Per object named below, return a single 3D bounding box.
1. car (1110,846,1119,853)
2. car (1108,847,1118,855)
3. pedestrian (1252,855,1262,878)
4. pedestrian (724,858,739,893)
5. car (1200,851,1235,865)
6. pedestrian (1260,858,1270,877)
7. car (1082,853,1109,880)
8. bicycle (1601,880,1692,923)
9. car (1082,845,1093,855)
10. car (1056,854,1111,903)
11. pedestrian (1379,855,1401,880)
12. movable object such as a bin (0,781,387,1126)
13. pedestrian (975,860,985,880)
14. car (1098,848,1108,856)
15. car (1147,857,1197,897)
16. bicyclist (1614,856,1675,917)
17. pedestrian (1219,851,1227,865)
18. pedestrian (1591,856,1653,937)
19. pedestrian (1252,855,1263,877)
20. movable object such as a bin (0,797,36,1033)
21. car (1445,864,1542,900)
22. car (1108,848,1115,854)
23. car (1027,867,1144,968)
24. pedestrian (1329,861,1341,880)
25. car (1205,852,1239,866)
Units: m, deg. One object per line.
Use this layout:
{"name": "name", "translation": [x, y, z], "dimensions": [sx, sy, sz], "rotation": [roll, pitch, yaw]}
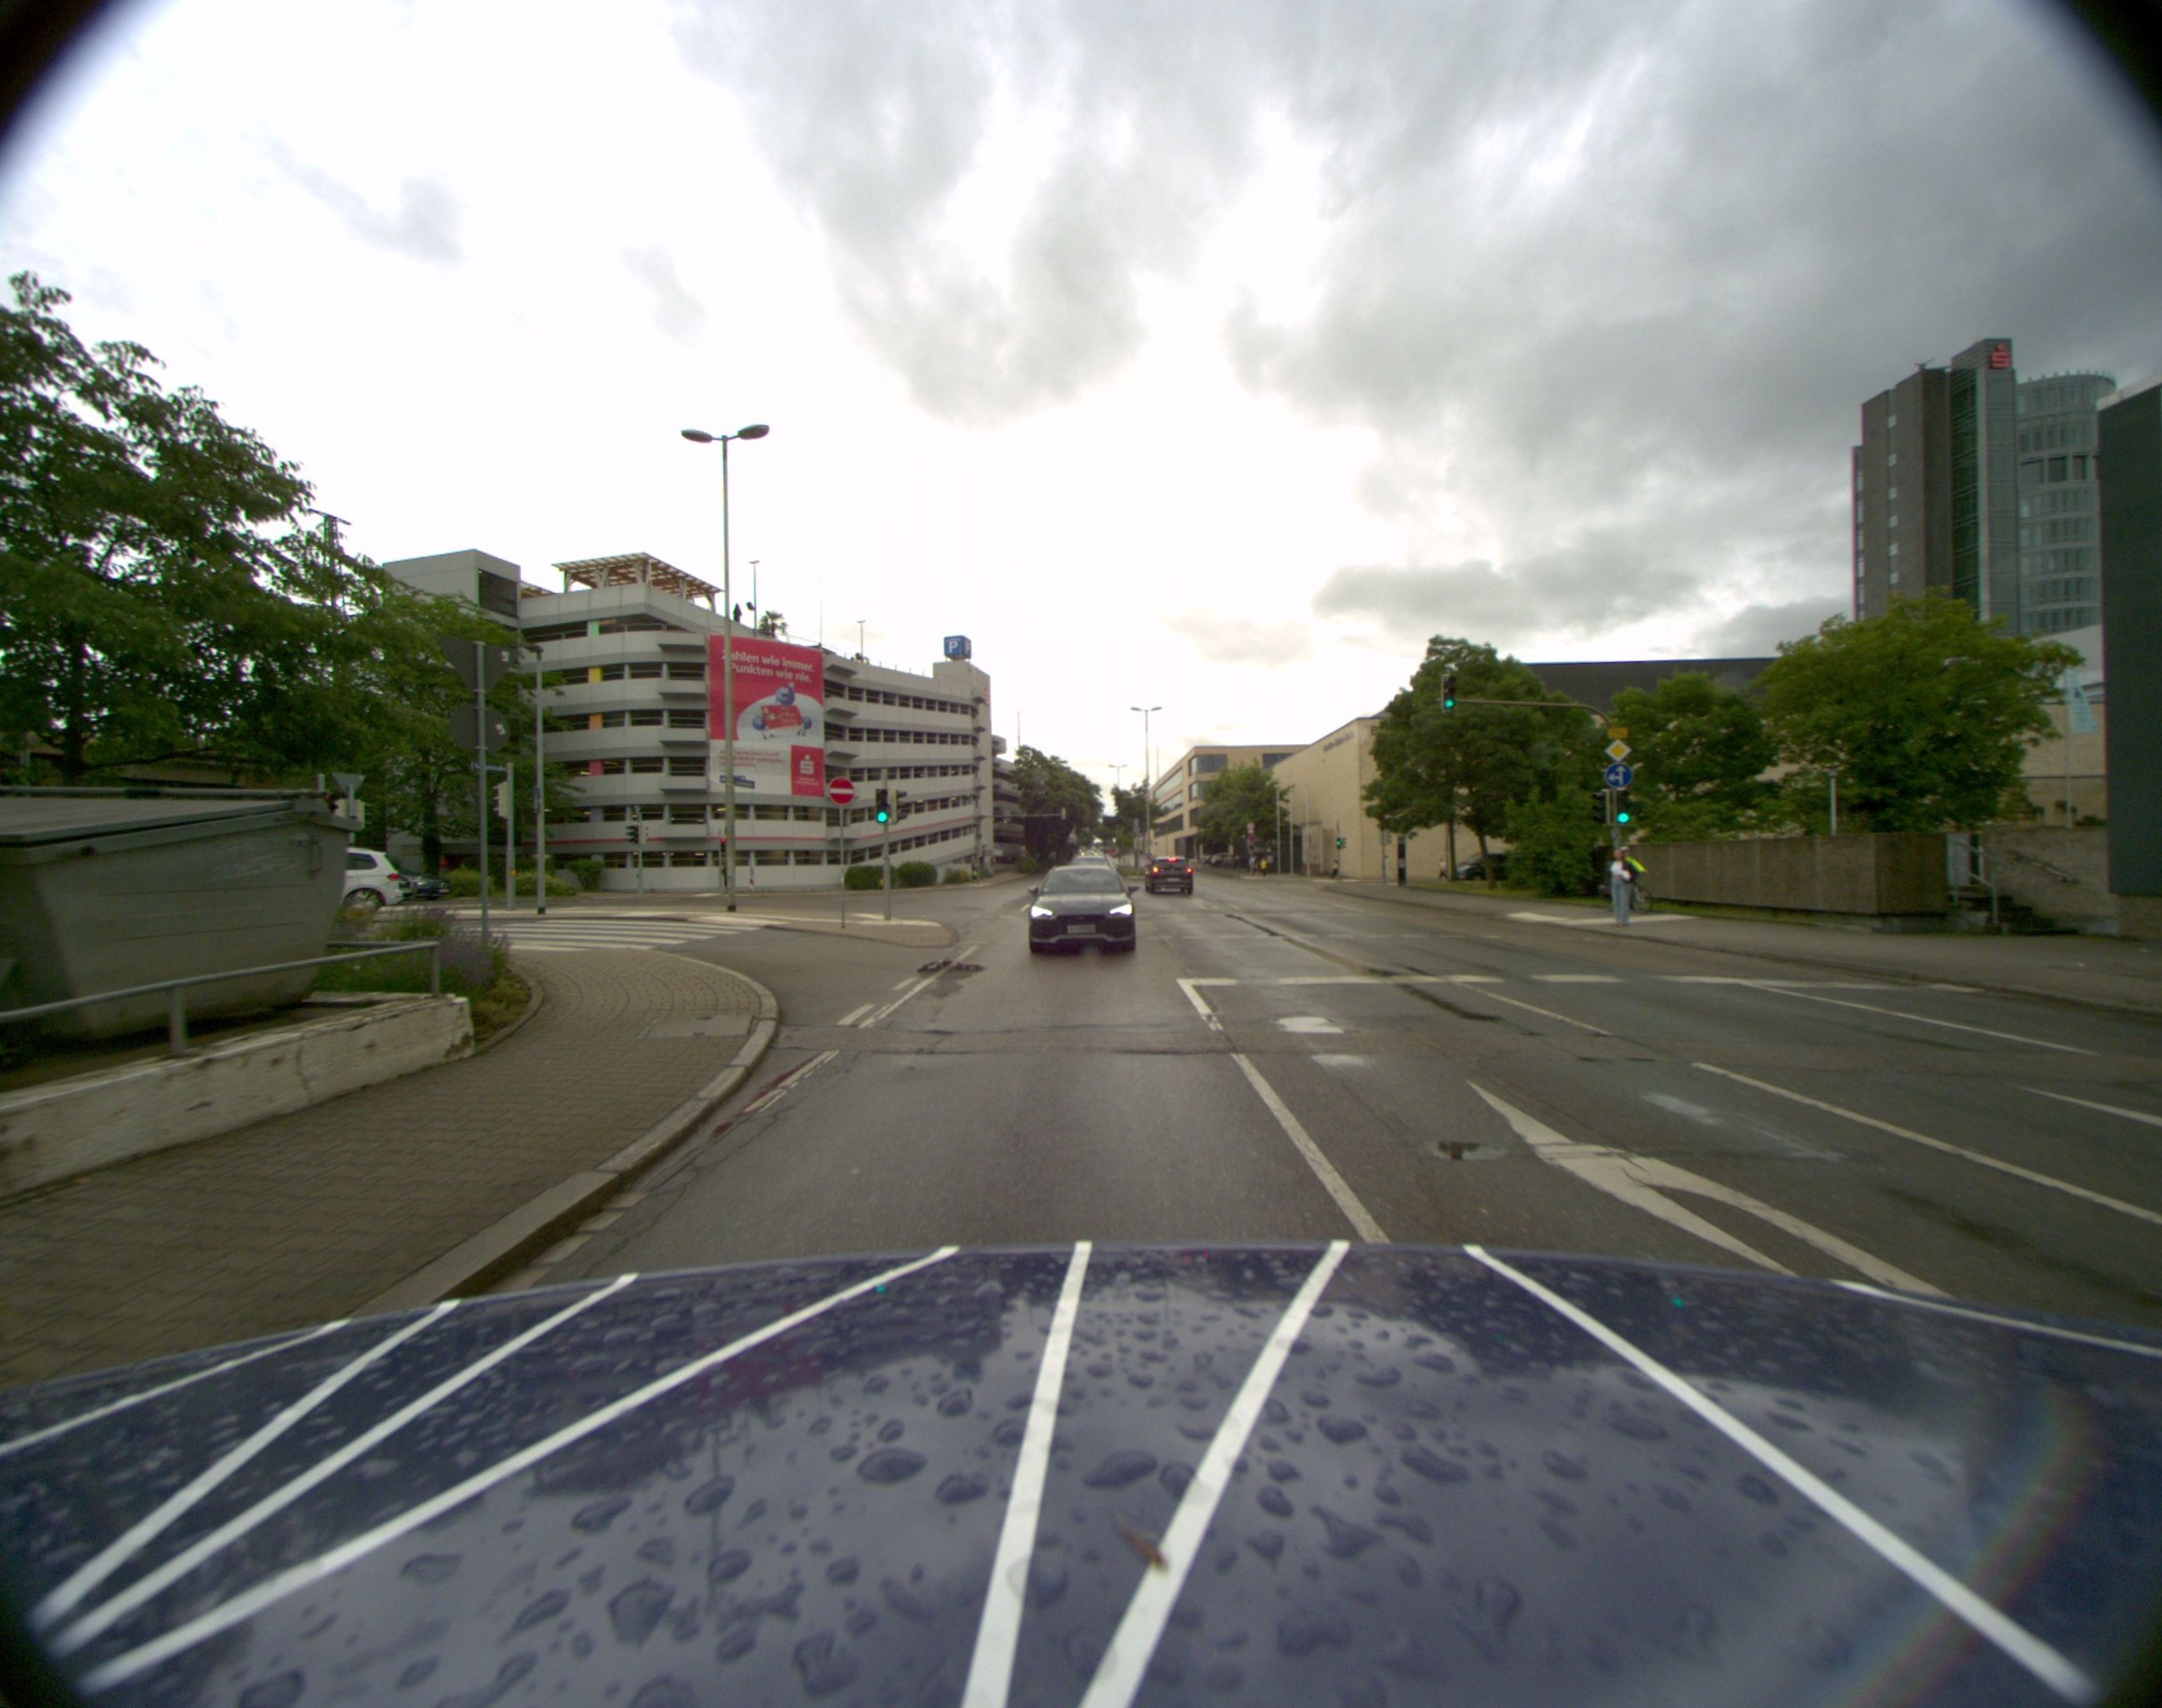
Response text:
{"name": "car", "translation": [6.980, -0.876, 157.934], "dimensions": [1.675, 1.461, 4.300], "rotation": [1, 0, -1]}
{"name": "car", "translation": [7.548, -0.709, 179.198], "dimensions": [1.855, 1.841, 4.300], "rotation": [2, 0, -1]}
{"name": "pedestrian", "translation": [13.847, 0.993, 59.789], "dimensions": [0.595, 1.761, 0.692], "rotation": [-3, 1, 0]}
{"name": "pedestrian", "translation": [-19.263, 1.191, 41.889], "dimensions": [0.546, 1.879, 0.506], "rotation": [2, 0, -39]}
{"name": "car", "translation": [16.768, 0.504, 93.309], "dimensions": [3.995, 1.576, 2.001], "rotation": [-3, 0, 5]}
{"name": "pedestrian", "translation": [14.817, 1.097, 61.285], "dimensions": [0.595, 1.507, 0.692], "rotation": [-3, 1, 0]}
{"name": "car", "translation": [1.108, 0.910, 56.553], "dimensions": [1.804, 1.818, 3.950], "rotation": [-3, 0, 2]}
{"name": "bicycle", "translation": [13.874, 1.141, 18.706], "dimensions": [0.887, 0.902, 1.867], "rotation": [-3, 0, 3]}
{"name": "car", "translation": [1.280, -0.677, 141.148], "dimensions": [1.998, 1.716, 4.400], "rotation": [-1, -1, 1]}
{"name": "car", "translation": [0.178, 0.896, 29.323], "dimensions": [1.845, 1.647, 4.001], "rotation": [-3, 0, 3]}
{"name": "pedestrian", "translation": [21.558, 0.956, 53.053], "dimensions": [1.113, 1.690, 0.807], "rotation": [-3, 1, -2]}
{"name": "movable object such as a bin", "translation": [-5.879, 0.454, 4.345], "dimensions": [2.161, 1.565, 1.773], "rotation": [0, 1, 2]}
{"name": "pedestrian", "translation": [-8.459, 1.339, 63.678], "dimensions": [0.584, 1.650, 0.519], "rotation": [2, 2, 18]}
{"name": "car", "translation": [4.985, -0.512, 174.912], "dimensions": [1.999, 1.772, 3.999], "rotation": [-3, 0, -1]}
{"name": "car", "translation": [3.945, 0.958, 33.594], "dimensions": [1.812, 1.585, 4.295], "rotation": [-1, 0, 2]}
{"name": "bicyclist", "translation": [13.847, 0.781, 18.693], "dimensions": [0.844, 1.434, 0.812], "rotation": [-3, 1, 3]}
{"name": "pedestrian", "translation": [16.920, 0.461, 90.532], "dimensions": [0.803, 1.638, 0.976], "rotation": [-3, 1, 7]}
{"name": "pedestrian", "translation": [11.763, 0.910, 16.538], "dimensions": [0.719, 1.680, 0.811], "rotation": [-3, 1, 3]}
{"name": "pedestrian", "translation": [14.475, 0.982, 62.403], "dimensions": [0.595, 1.721, 0.692], "rotation": [-3, 1, -4]}
{"name": "movable object such as a bin", "translation": [-8.183, 0.395, 4.278], "dimensions": [2.161, 1.546, 1.773], "rotation": [0, 1, 2]}
{"name": "car", "translation": [25.102, 1.706, 46.318], "dimensions": [4.790, 1.914, 2.000], "rotation": [2, 0, -2]}
{"name": "car", "translation": [8.392, -0.766, 210.833], "dimensions": [1.675, 1.598, 4.300], "rotation": [2, 0, -1]}
{"name": "car", "translation": [-0.006, 1.017, 13.976], "dimensions": [1.739, 1.380, 4.581], "rotation": [-3, 0, -2]}
{"name": "pedestrian", "translation": [18.319, 1.179, 54.769], "dimensions": [0.622, 1.368, 0.475], "rotation": [-3, 1, 2]}
{"name": "car", "translation": [17.682, 0.571, 95.540], "dimensions": [3.995, 1.576, 2.001], "rotation": [-3, 0, 5]}
